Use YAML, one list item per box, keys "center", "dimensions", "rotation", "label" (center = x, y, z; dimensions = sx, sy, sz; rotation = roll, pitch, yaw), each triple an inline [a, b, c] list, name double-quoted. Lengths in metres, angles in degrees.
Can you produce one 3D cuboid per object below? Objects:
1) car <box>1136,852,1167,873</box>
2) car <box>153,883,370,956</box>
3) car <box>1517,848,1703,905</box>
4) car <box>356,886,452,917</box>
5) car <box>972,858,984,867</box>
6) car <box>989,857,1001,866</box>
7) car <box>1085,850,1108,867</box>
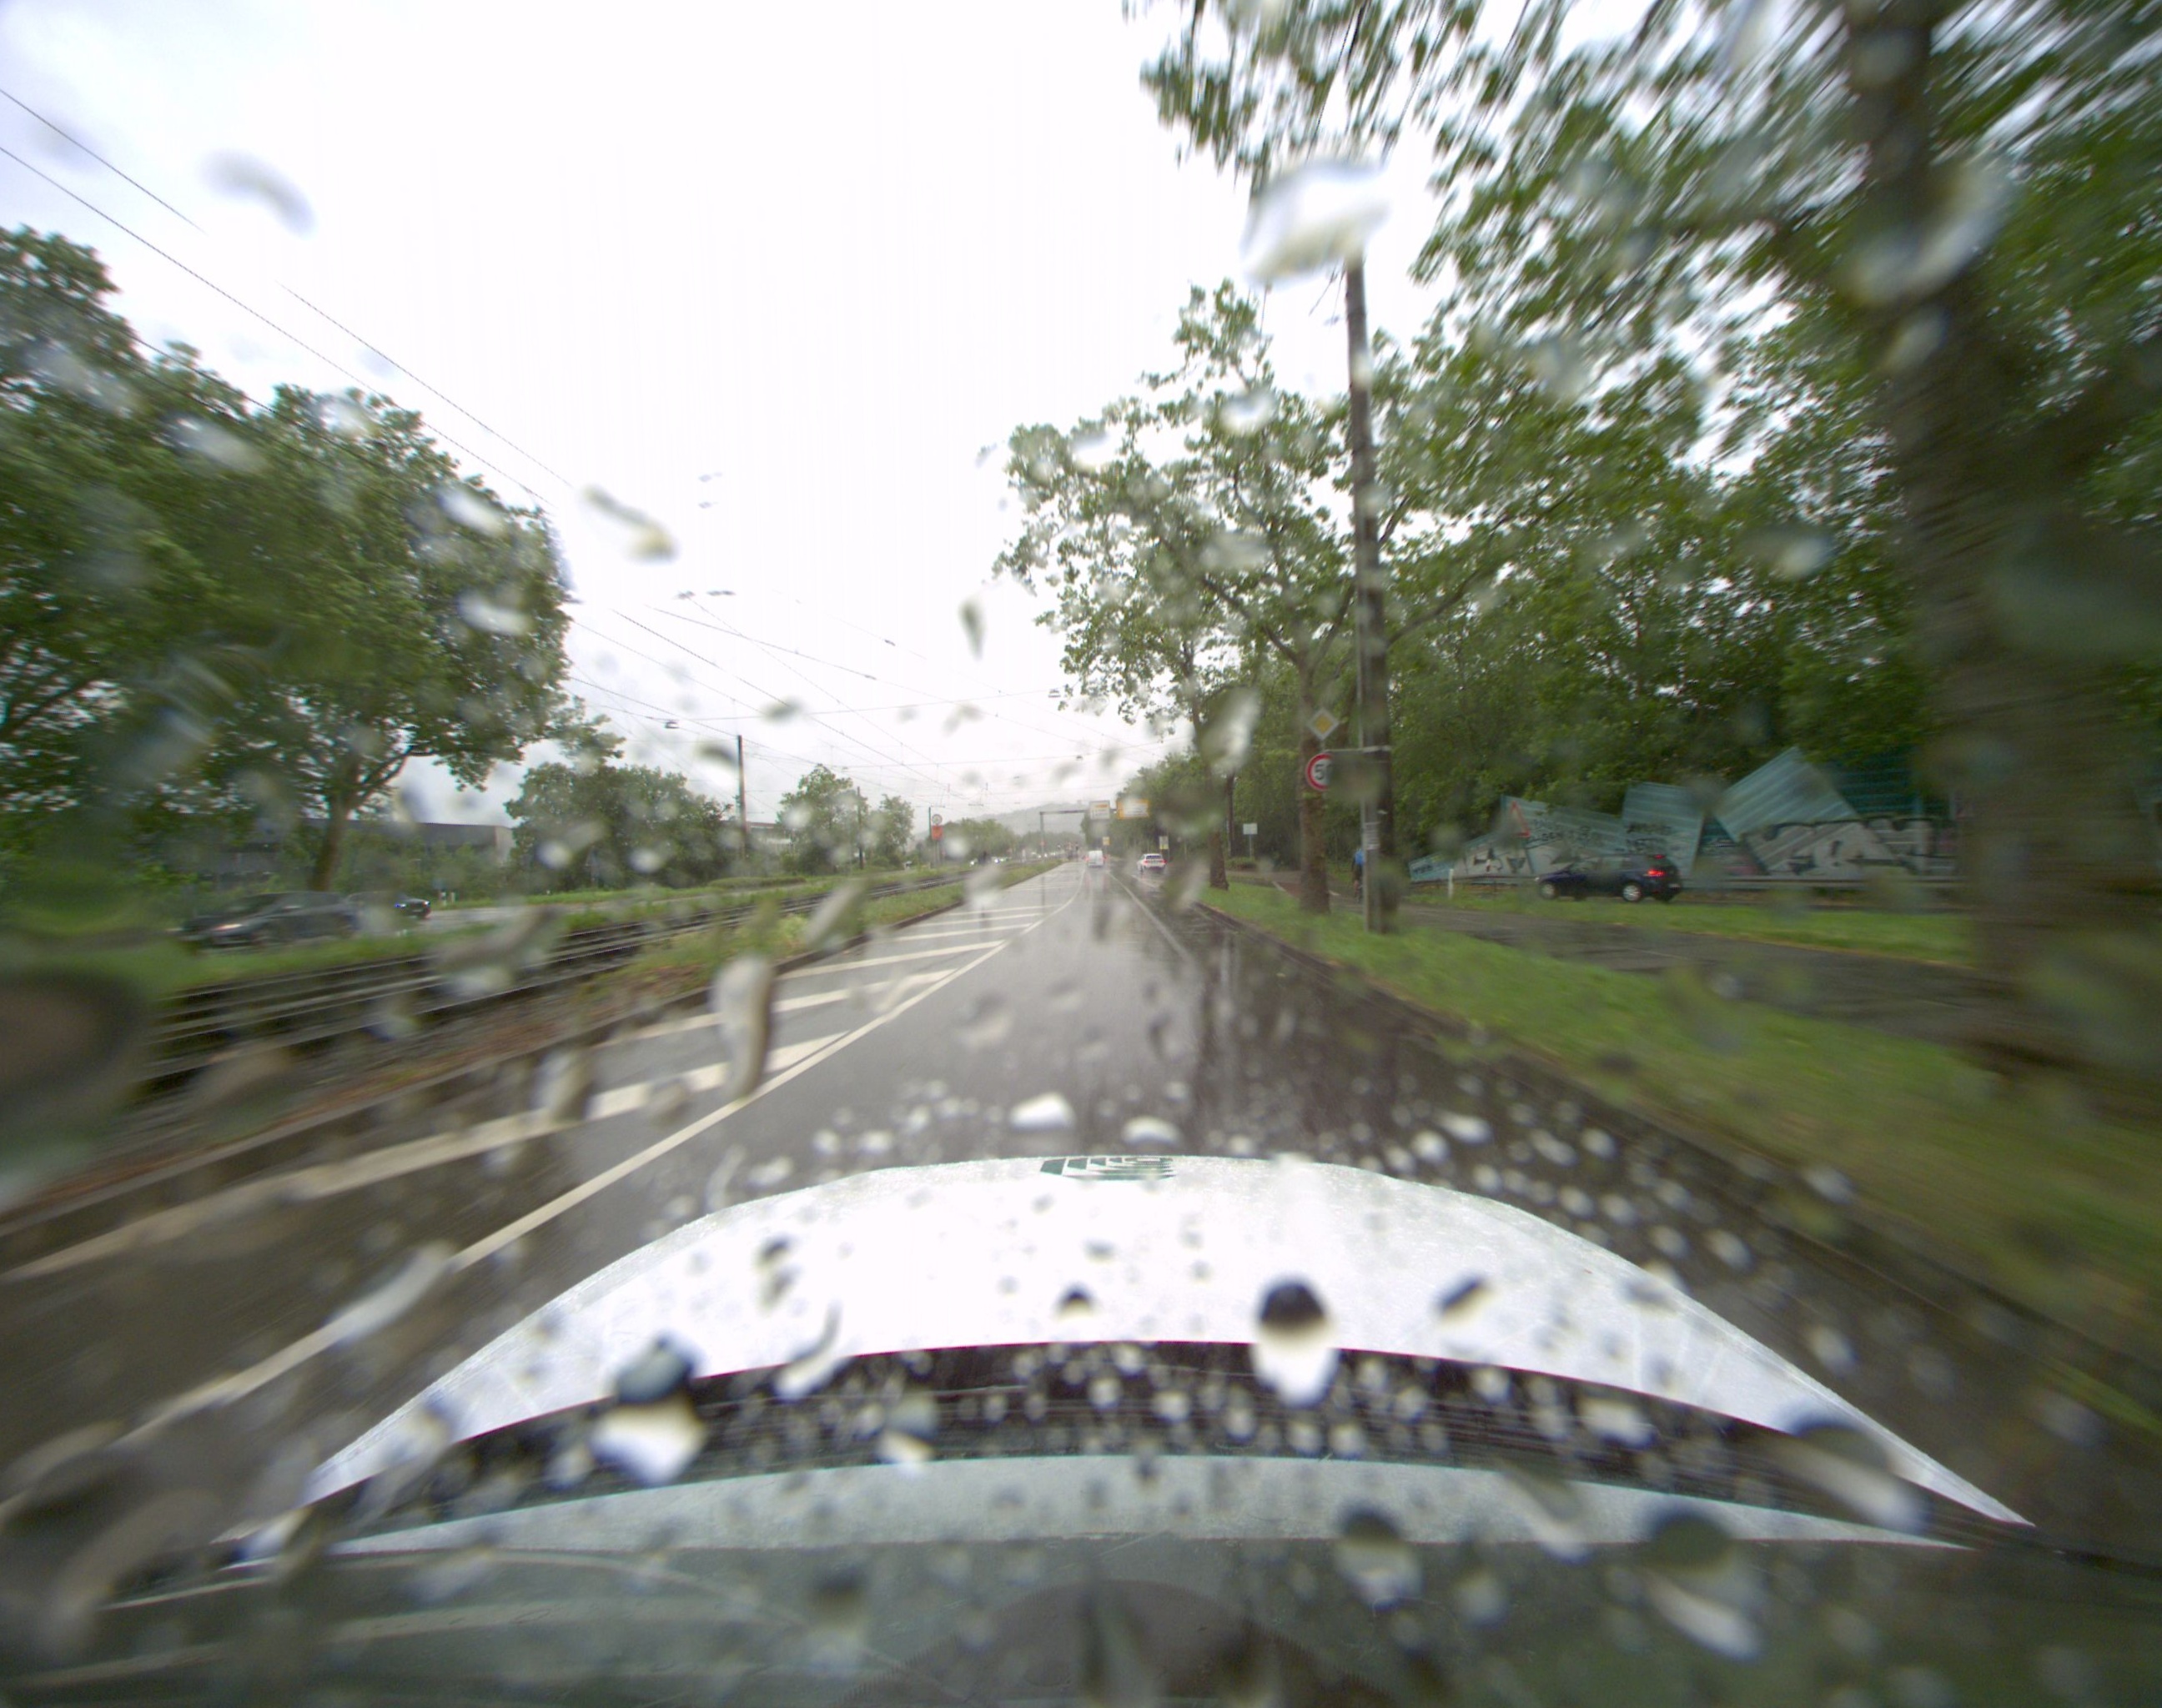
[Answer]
- center: [5.450, 0.660, 63.191]
  dimensions: [1.942, 1.536, 4.465]
  rotation: [-2, 0, -1]
  label: "car"
- center: [-21.351, 1.649, 21.492]
  dimensions: [1.646, 1.568, 4.046]
  rotation: [-1, 0, -1]
  label: "car"
- center: [16.174, 0.653, 25.191]
  dimensions: [1.872, 1.536, 4.479]
  rotation: [-2, 0, -25]
  label: "car"
- center: [-36.538, 2.545, 43.969]
  dimensions: [4.227, 1.528, 2.231]
  rotation: [-2, 0, 22]
  label: "car"
- center: [-19.531, 1.574, 154.834]
  dimensions: [1.939, 1.686, 4.775]
  rotation: [-2, 0, -3]
  label: "car"
- center: [-16.148, 1.397, 153.677]
  dimensions: [1.939, 1.616, 4.983]
  rotation: [-2, 0, -3]
  label: "car"
- center: [1.446, 0.436, 76.982]
  dimensions: [2.071, 1.420, 4.000]
  rotation: [-3, 0, 0]
  label: "car"
